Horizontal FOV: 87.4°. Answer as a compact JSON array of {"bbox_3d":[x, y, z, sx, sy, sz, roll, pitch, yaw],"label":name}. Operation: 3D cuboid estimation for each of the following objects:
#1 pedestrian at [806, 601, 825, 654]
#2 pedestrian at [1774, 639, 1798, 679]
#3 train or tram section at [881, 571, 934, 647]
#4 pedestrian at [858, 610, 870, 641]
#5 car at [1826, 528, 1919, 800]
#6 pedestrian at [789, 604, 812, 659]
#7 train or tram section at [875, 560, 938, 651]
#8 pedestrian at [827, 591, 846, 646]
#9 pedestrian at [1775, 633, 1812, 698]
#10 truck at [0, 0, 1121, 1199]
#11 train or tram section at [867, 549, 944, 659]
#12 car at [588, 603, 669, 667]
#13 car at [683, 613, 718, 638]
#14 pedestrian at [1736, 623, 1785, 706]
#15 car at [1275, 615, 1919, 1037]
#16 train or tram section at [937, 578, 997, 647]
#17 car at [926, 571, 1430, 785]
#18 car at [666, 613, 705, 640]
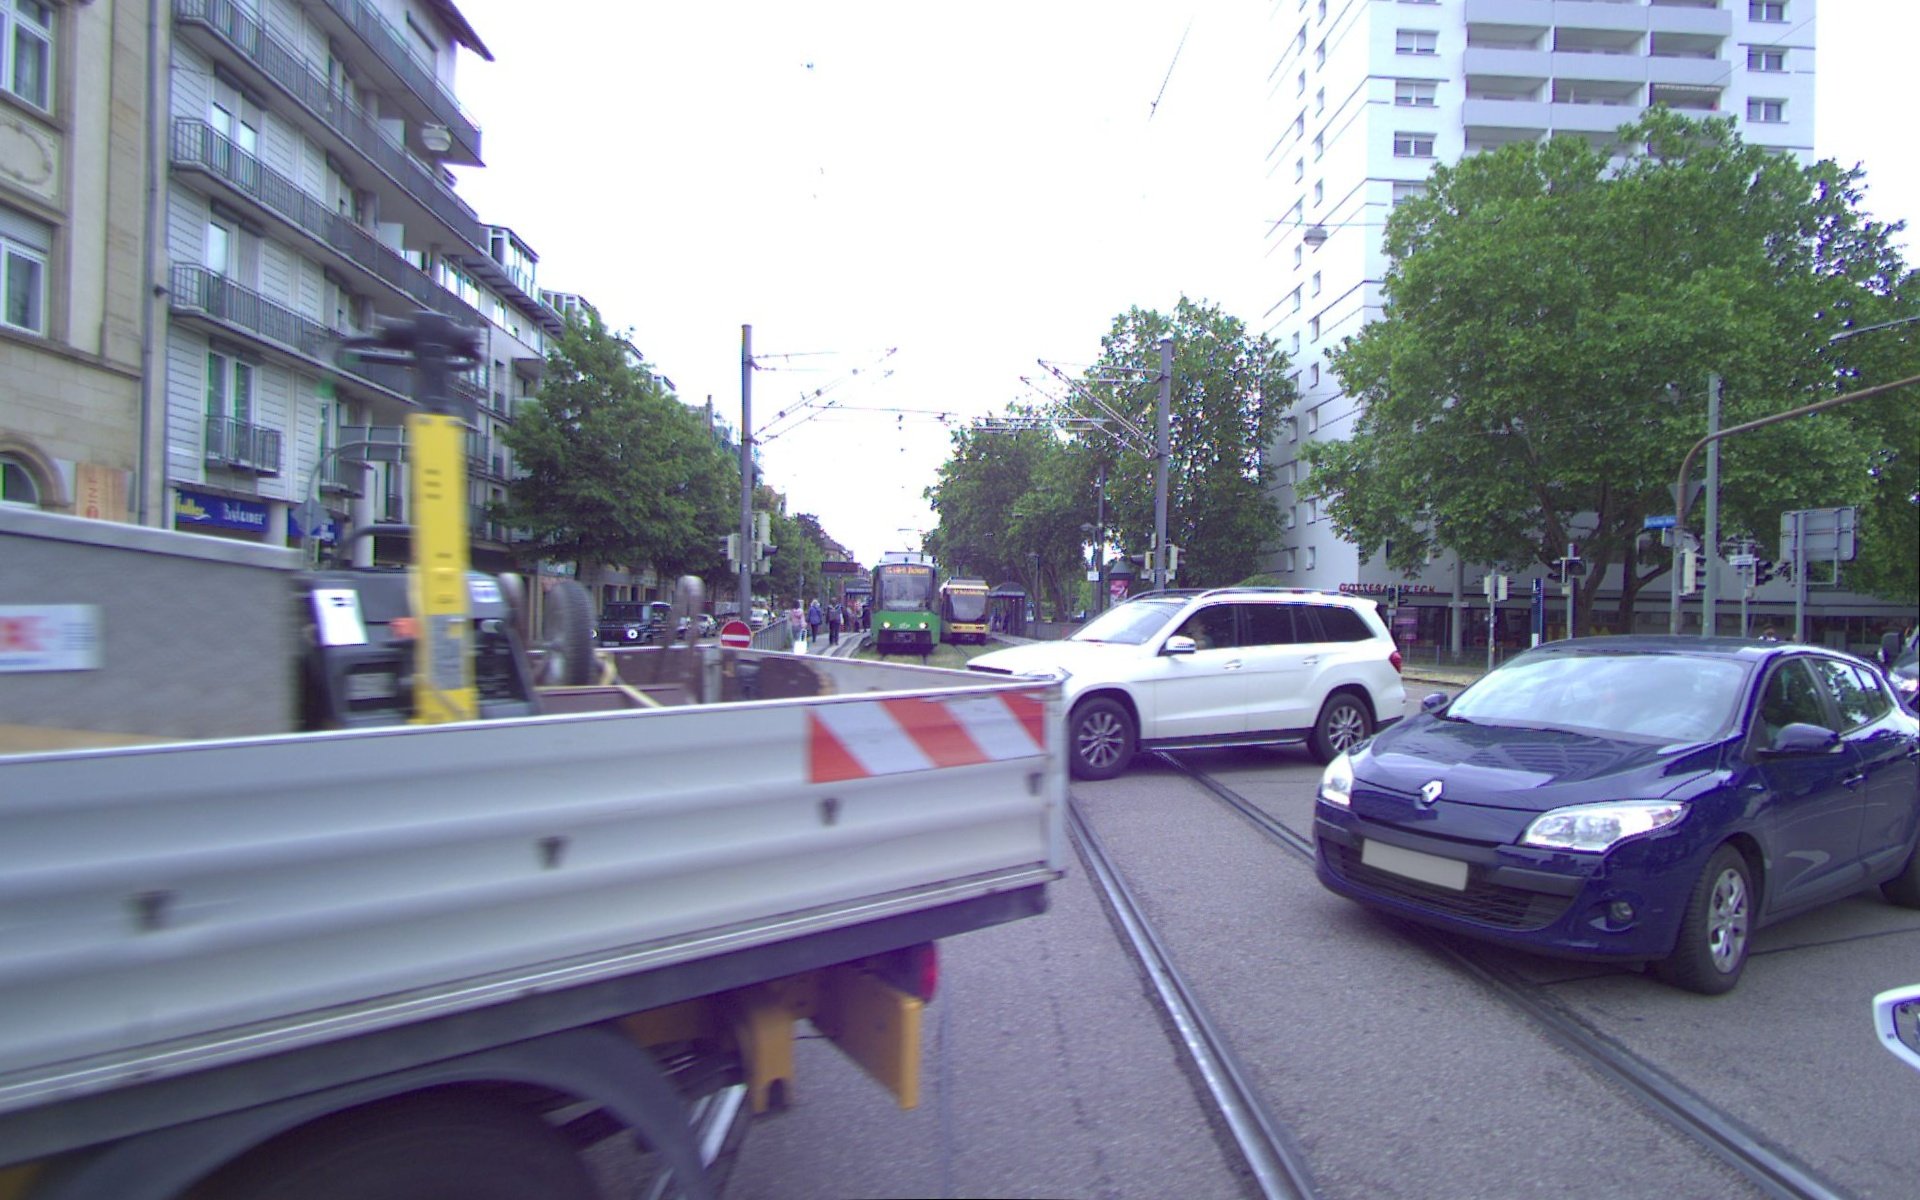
[{"bbox_3d":[-5.272,0.998,36.566,0.604,1.889,0.481,1,-1,-3],"label":"pedestrian"},{"bbox_3d":[33.329,2.369,40.530,0.610,1.566,0.422,1,-1,-3],"label":"pedestrian"},{"bbox_3d":[-2.950,0.527,56.519,2.634,3.811,11.059,1,-1,-3],"label":"train or tram section"},{"bbox_3d":[-5.873,1.543,61.653,0.657,1.889,0.616,1,-1,-2],"label":"pedestrian"},{"bbox_3d":[11.345,0.649,10.139,5.509,2.483,2.125,2,-1,-28],"label":"car"},{"bbox_3d":[-4.784,0.931,30.181,0.577,1.624,0.733,1,-1,-3],"label":"pedestrian"},{"bbox_3d":[-2.481,0.287,46.858,2.634,3.811,8.297,1,-1,-3],"label":"train or tram section"},{"bbox_3d":[-4.331,0.656,35.281,0.577,1.889,0.733,1,-1,-3],"label":"pedestrian"},{"bbox_3d":[23.712,1.861,28.589,0.610,1.809,0.574,1,-1,-18],"label":"pedestrian"},{"bbox_3d":[-2.458,0.266,1.400,5.407,2.440,2.062,1,-1,-35],"label":"truck"},{"bbox_3d":[-2.095,0.206,39.100,2.634,3.811,7.259,1,-1,-3],"label":"train or tram section"},{"bbox_3d":[-10.809,1.105,33.043,1.658,1.939,3.996,1,-1,-6],"label":"car"},{"bbox_3d":[-17.446,1.670,67.590,1.658,1.600,3.997,1,-1,-6],"label":"car"},{"bbox_3d":[18.008,1.439,22.613,0.498,1.809,0.700,1,-1,-19],"label":"pedestrian"},{"bbox_3d":[3.662,0.875,5.340,3.860,1.509,1.658,2,-1,-31],"label":"car"},{"bbox_3d":[0.183,0.740,56.004,2.572,3.342,13.010,1,-1,-3],"label":"train or tram section"},{"bbox_3d":[2.374,0.746,10.644,5.155,1.850,1.861,2,-1,-25],"label":"car"},{"bbox_3d":[-17.094,1.604,62.709,1.658,1.600,3.997,1,-1,-6],"label":"car"}]
